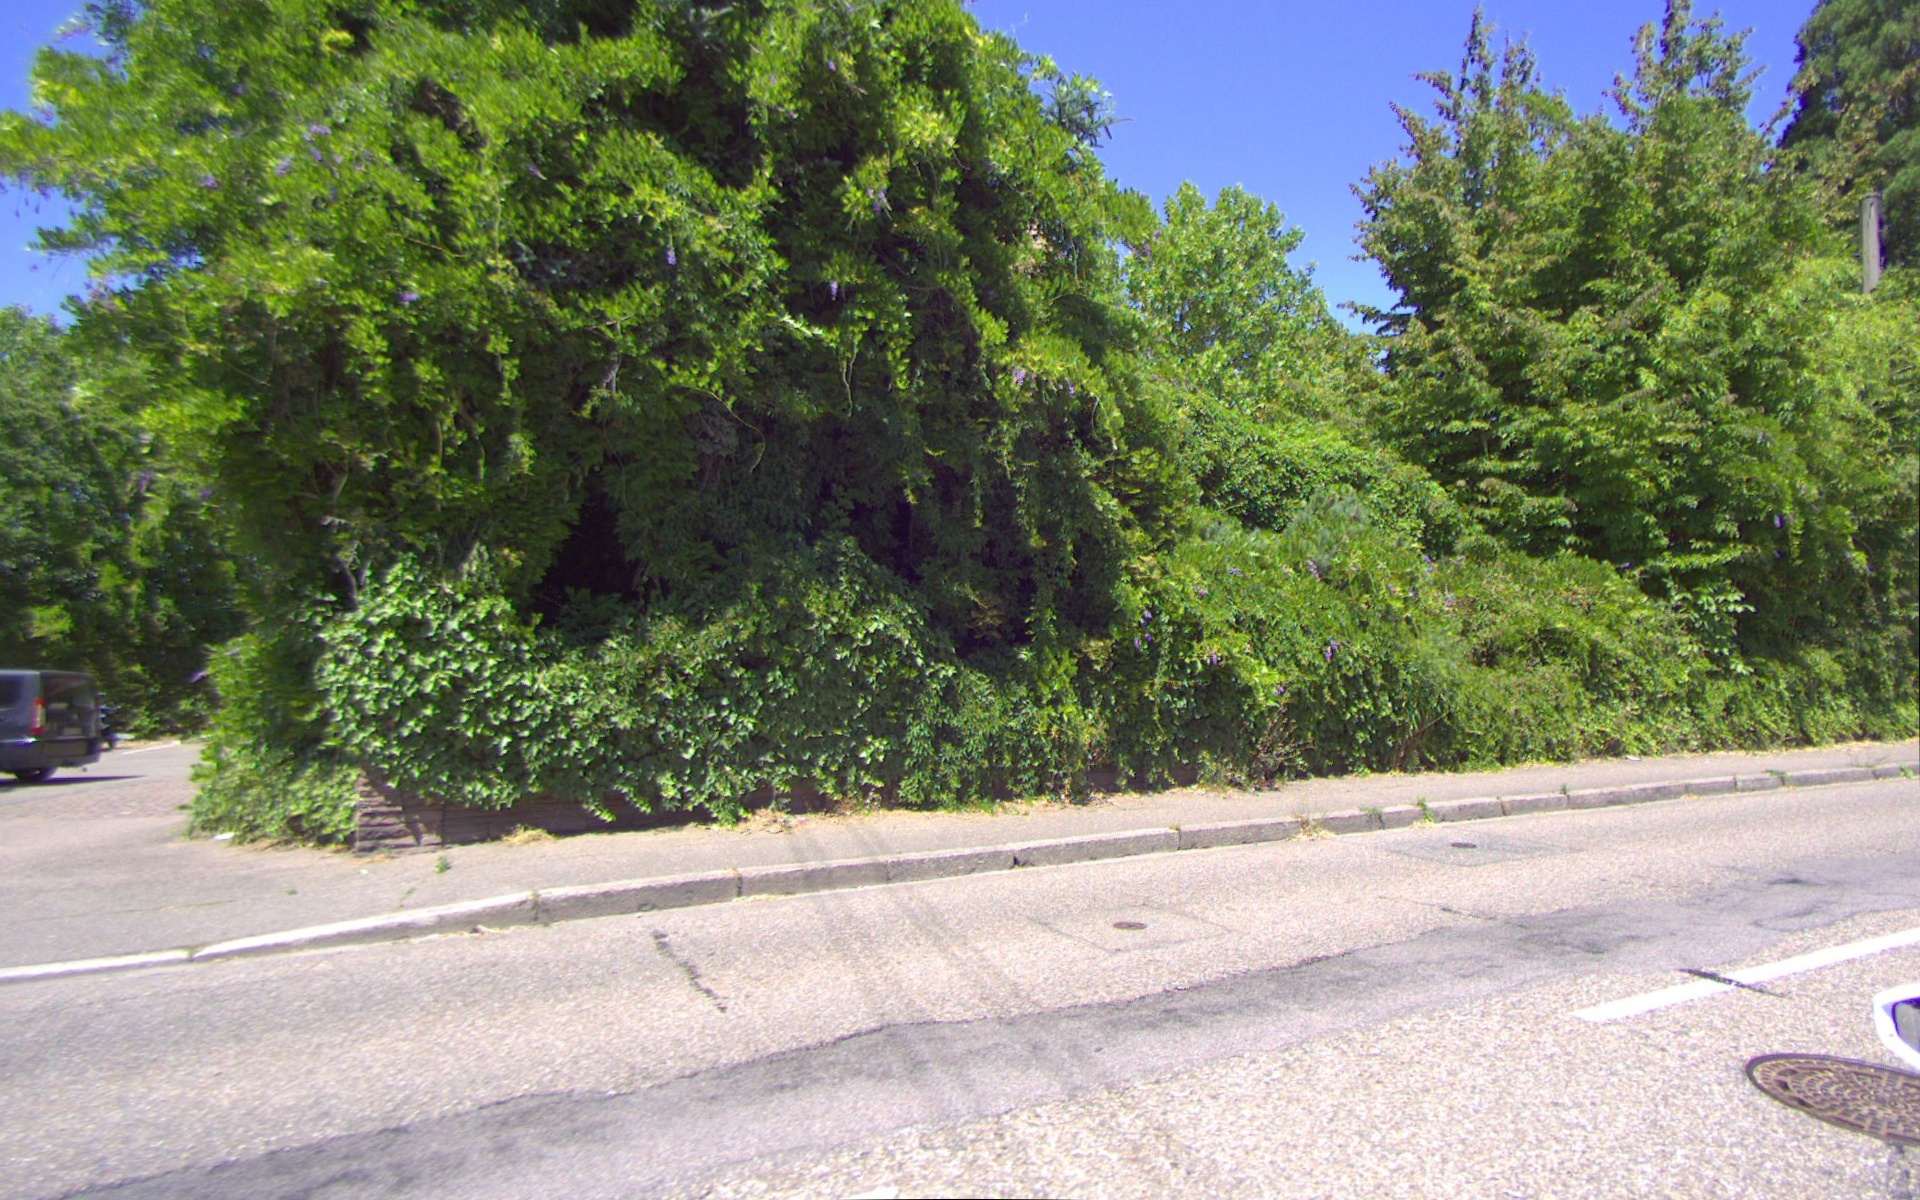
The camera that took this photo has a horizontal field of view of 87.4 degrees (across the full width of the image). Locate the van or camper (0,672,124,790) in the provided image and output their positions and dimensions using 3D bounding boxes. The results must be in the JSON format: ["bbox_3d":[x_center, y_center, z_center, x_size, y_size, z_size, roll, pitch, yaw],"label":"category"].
[{"bbox_3d":[-17.140,2.183,16.736,4.449,1.905,1.916,1,-5,-21],"label":"van or camper"}]

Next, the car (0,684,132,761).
[{"bbox_3d":[-24.944,3.244,26.768,4.140,1.862,1.898,2,-3,-31],"label":"car"}]
